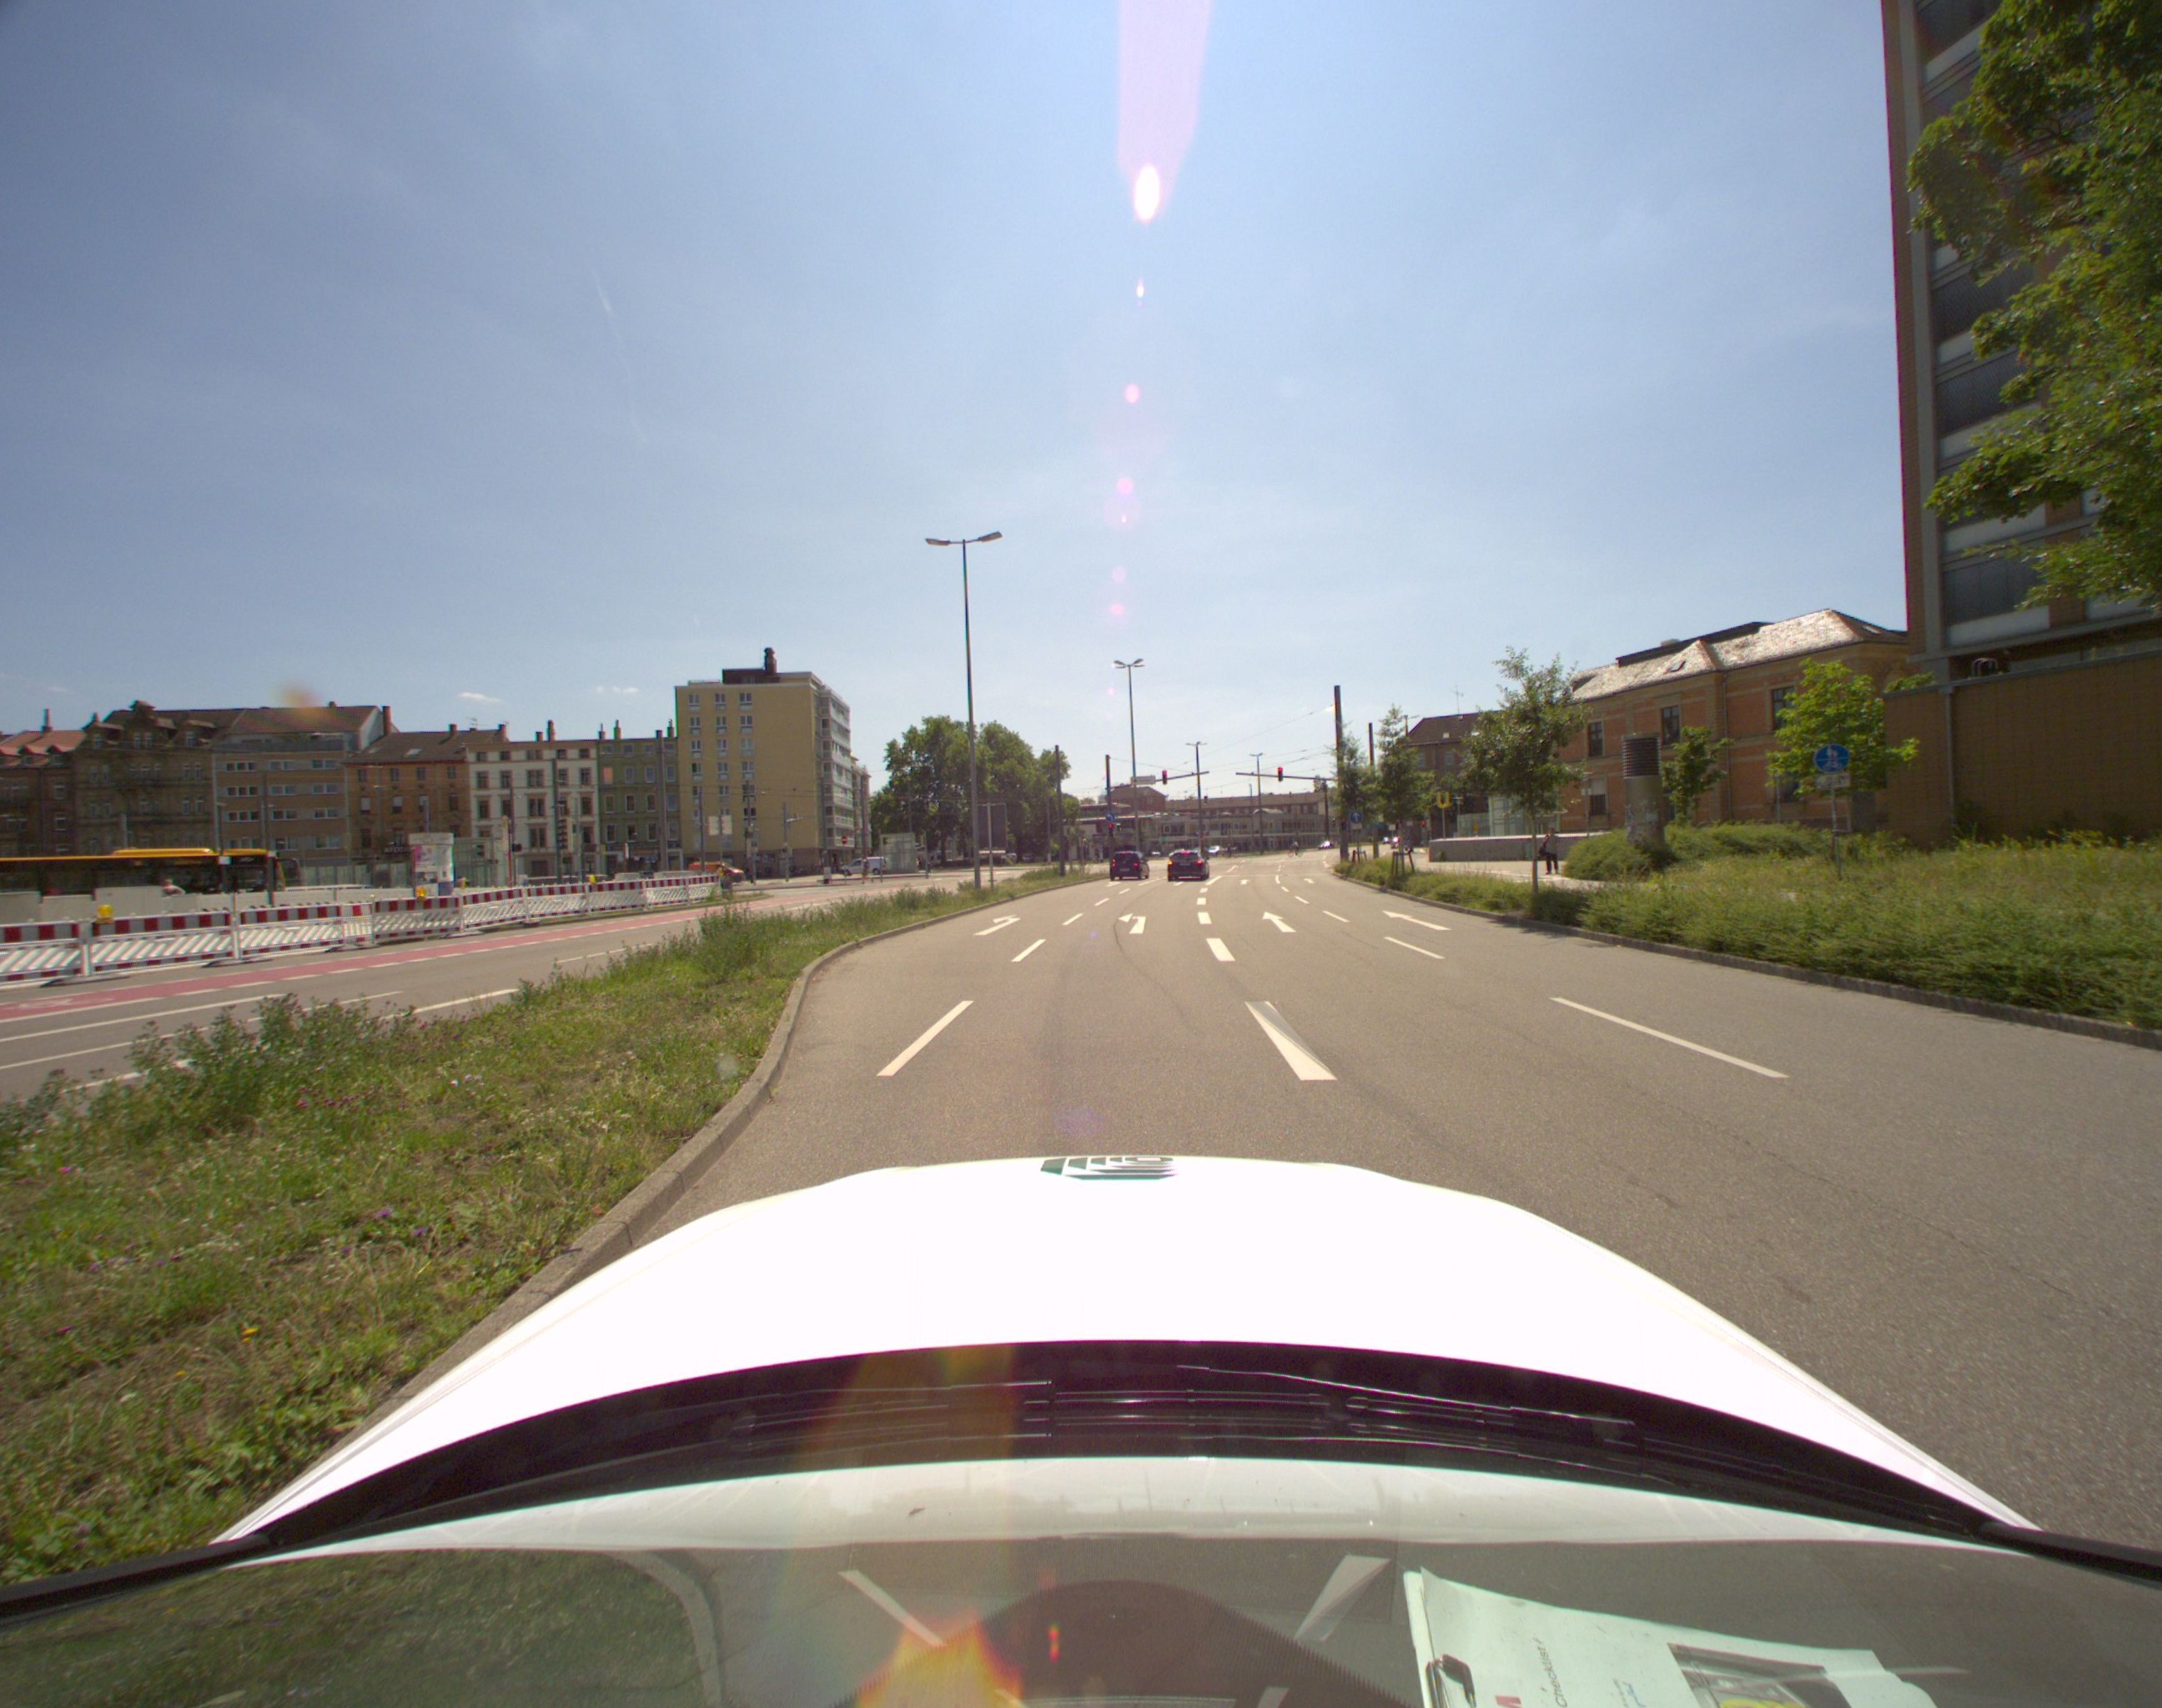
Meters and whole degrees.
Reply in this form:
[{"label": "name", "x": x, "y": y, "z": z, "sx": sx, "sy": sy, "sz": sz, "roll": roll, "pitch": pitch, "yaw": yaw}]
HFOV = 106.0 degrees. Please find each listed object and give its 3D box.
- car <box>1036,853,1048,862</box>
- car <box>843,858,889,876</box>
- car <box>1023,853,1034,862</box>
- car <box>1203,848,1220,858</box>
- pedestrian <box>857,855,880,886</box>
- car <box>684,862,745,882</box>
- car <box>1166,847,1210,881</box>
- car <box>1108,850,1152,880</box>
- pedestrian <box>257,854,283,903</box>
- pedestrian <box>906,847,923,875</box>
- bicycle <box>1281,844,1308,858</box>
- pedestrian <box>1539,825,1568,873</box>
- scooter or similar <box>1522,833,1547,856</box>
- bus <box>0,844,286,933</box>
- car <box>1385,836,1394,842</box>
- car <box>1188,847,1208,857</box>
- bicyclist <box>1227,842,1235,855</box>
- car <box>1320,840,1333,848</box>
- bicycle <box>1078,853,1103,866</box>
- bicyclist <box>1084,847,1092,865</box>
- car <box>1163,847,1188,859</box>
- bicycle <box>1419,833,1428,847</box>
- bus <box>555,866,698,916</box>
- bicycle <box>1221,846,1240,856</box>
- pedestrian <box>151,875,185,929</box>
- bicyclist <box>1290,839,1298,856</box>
[{"label": "car", "x": -7.025, "y": 0.682, "z": 147.573, "sx": 1.501, "sy": 1.418, "sz": 3.429, "roll": -2, "pitch": 2, "yaw": 7}, {"label": "car", "x": -21.974, "y": 1.292, "z": 83.461, "sx": 4.302, "sy": 1.627, "sz": 1.811, "roll": -2, "pitch": 2, "yaw": -7}, {"label": "car", "x": -9.597, "y": 0.644, "z": 148.625, "sx": 1.417, "sy": 1.508, "sz": 3.446, "roll": -2, "pitch": 2, "yaw": 7}, {"label": "car", "x": 18.672, "y": -0.117, "z": 116.540, "sx": 1.418, "sy": 1.285, "sz": 3.281, "roll": -1, "pitch": 2, "yaw": 25}, {"label": "pedestrian", "x": -13.999, "y": 1.065, "z": 53.629, "sx": 1.173, "sy": 1.933, "sz": 0.904, "roll": -2, "pitch": 2, "yaw": 6}, {"label": "car", "x": -33.084, "y": 1.626, "z": 73.641, "sx": 4.611, "sy": 1.613, "sz": 1.675, "roll": -2, "pitch": 2, "yaw": -2}, {"label": "car", "x": 5.413, "y": 0.440, "z": 40.894, "sx": 1.705, "sy": 1.556, "sz": 4.603, "roll": -2, "pitch": 0, "yaw": 13}, {"label": "car", "x": 2.609, "y": 0.528, "z": 42.636, "sx": 1.610, "sy": 1.463, "sz": 4.014, "roll": -2, "pitch": 0, "yaw": 13}, {"label": "pedestrian", "x": -34.425, "y": 1.022, "z": 34.580, "sx": 0.603, "sy": 1.995, "sz": 0.668, "roll": 0, "pitch": 3, "yaw": 43}, {"label": "pedestrian", "x": -18.007, "y": 0.701, "z": 88.178, "sx": 1.206, "sy": 2.937, "sz": 1.340, "roll": -2, "pitch": 2, "yaw": 10}, {"label": "bicycle", "x": 23.995, "y": -0.351, "z": 91.513, "sx": 2.807, "sy": 1.463, "sz": 0.636, "roll": -2, "pitch": 2, "yaw": 11}, {"label": "pedestrian", "x": 17.489, "y": -0.190, "z": 30.156, "sx": 0.727, "sy": 1.706, "sz": 0.813, "roll": -1, "pitch": 0, "yaw": 14}, {"label": "scooter or similar", "x": 23.369, "y": -0.486, "z": 41.986, "sx": 0.396, "sy": 1.167, "sz": 1.286, "roll": -2, "pitch": 2, "yaw": -9}, {"label": "bus", "x": -39.051, "y": 1.317, "z": 30.874, "sx": 3.690, "sy": 3.041, "sz": 12.332, "roll": -2, "pitch": 0, "yaw": 39}, {"label": "car", "x": 77.870, "y": -3.779, "z": 205.475, "sx": 1.520, "sy": 1.458, "sz": 3.565, "roll": -1, "pitch": 2, "yaw": 13}, {"label": "car", "x": 15.998, "y": -0.272, "z": 111.307, "sx": 1.523, "sy": 1.277, "sz": 3.561, "roll": -1, "pitch": 2, "yaw": 30}, {"label": "bicyclist", "x": 18.007, "y": -0.631, "z": 98.001, "sx": 0.731, "sy": 1.479, "sz": 0.655, "roll": -2, "pitch": 2, "yaw": -6}, {"label": "car", "x": 46.103, "y": -1.895, "z": 152.656, "sx": 1.556, "sy": 1.427, "sz": 3.636, "roll": -1, "pitch": 2, "yaw": 29}, {"label": "bicycle", "x": 1.125, "y": 0.673, "z": 94.506, "sx": 2.761, "sy": 1.385, "sz": 0.672, "roll": -2, "pitch": 2, "yaw": 5}, {"label": "bicyclist", "x": 0.844, "y": 0.211, "z": 94.509, "sx": 0.842, "sy": 1.965, "sz": 0.627, "roll": -2, "pitch": 2, "yaw": 5}, {"label": "car", "x": 12.270, "y": -0.139, "z": 105.718, "sx": 1.604, "sy": 1.390, "sz": 4.150, "roll": -2, "pitch": 0, "yaw": 30}, {"label": "bicycle", "x": 47.694, "y": -1.952, "z": 113.360, "sx": 0.607, "sy": 1.788, "sz": 3.193, "roll": -1, "pitch": 2, "yaw": 13}, {"label": "bus", "x": -15.984, "y": 1.235, "z": 29.078, "sx": 1.237, "sy": 1.249, "sz": 5.832, "roll": -2, "pitch": 2, "yaw": 6}, {"label": "bicycle", "x": 18.025, "y": -0.321, "z": 97.993, "sx": 2.157, "sy": 1.107, "sz": 0.456, "roll": -2, "pitch": 2, "yaw": -5}, {"label": "pedestrian", "x": -35.019, "y": 1.832, "z": 31.244, "sx": 0.667, "sy": 1.995, "sz": 0.604, "roll": -3, "pitch": 2, "yaw": -37}, {"label": "bicyclist", "x": 23.964, "y": -0.752, "z": 91.504, "sx": 0.758, "sy": 1.937, "sz": 0.662, "roll": -2, "pitch": 2, "yaw": 11}]
